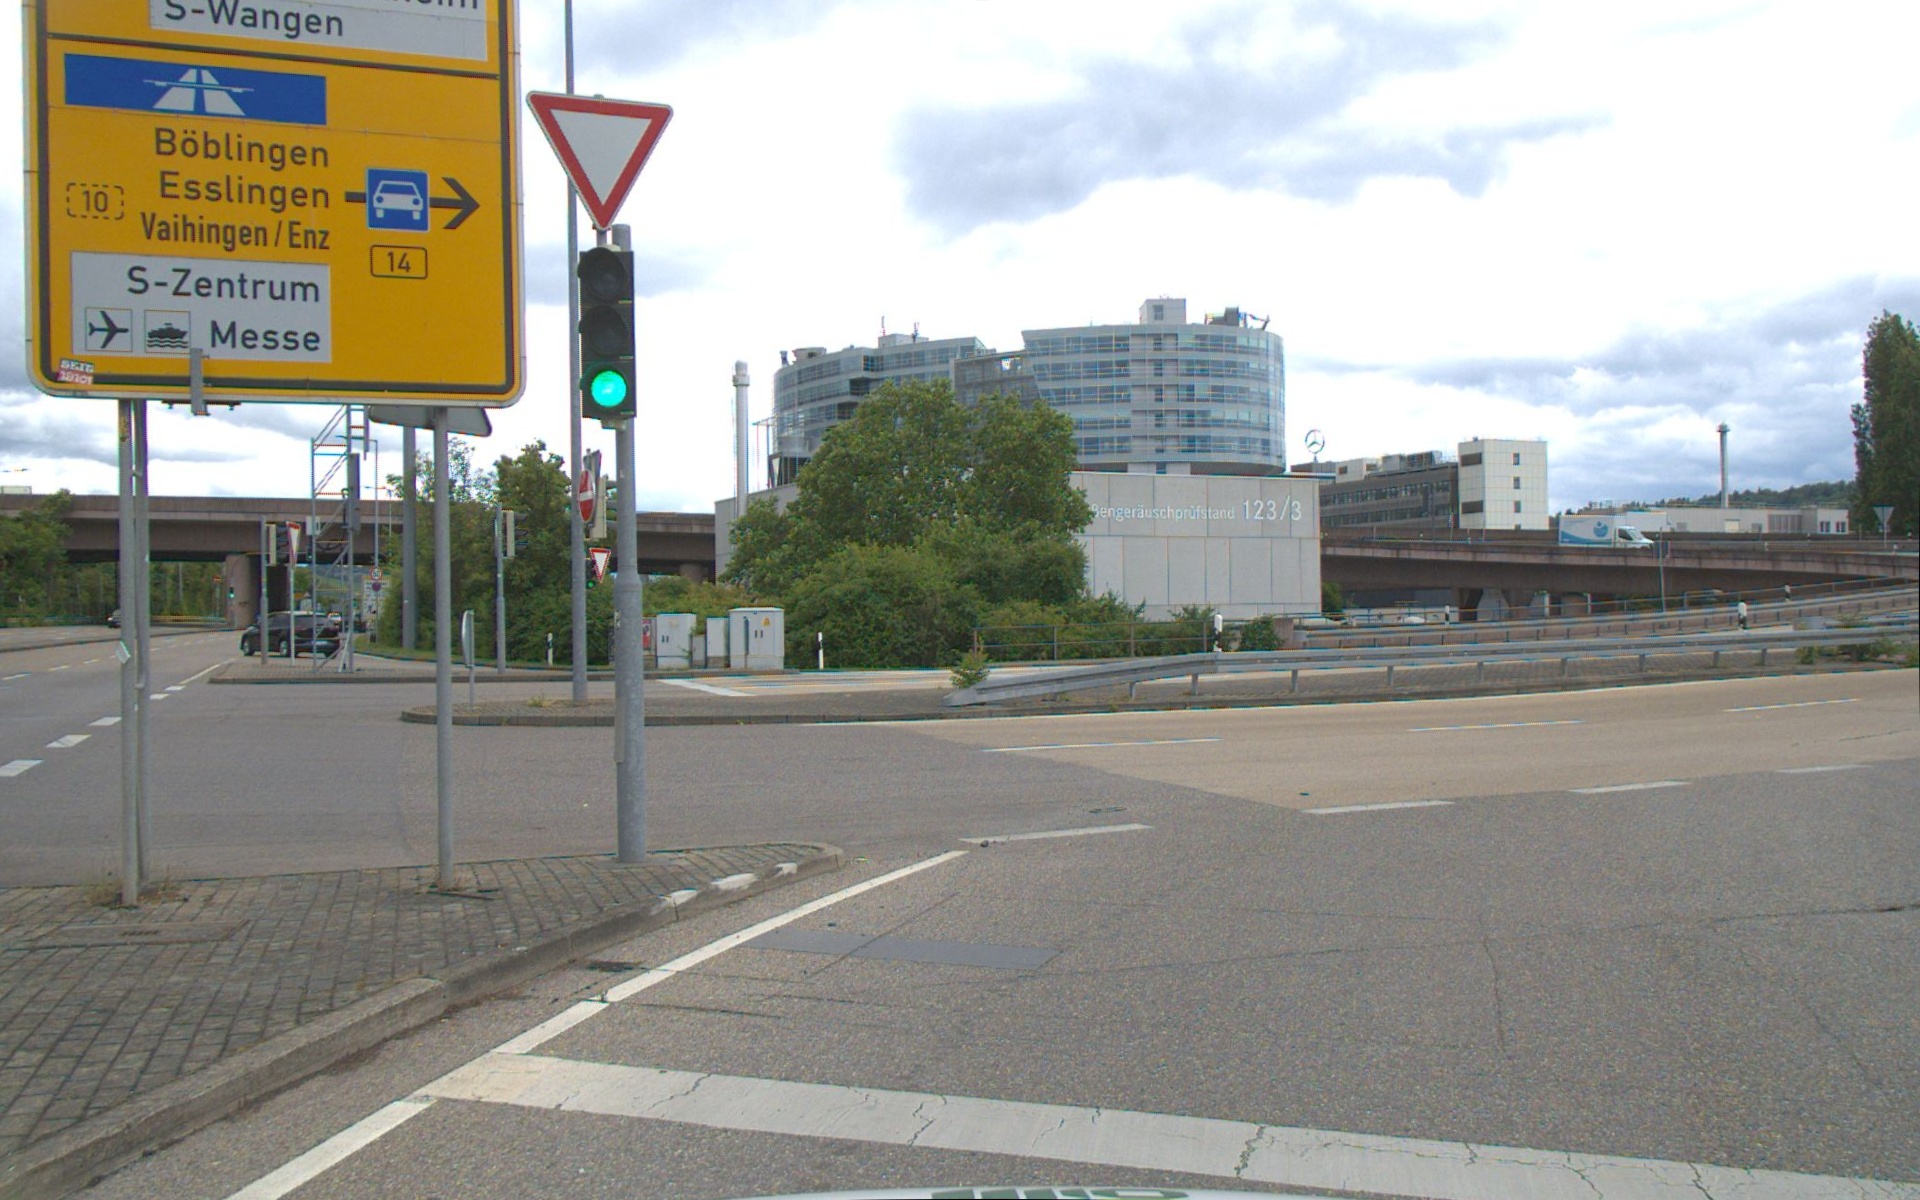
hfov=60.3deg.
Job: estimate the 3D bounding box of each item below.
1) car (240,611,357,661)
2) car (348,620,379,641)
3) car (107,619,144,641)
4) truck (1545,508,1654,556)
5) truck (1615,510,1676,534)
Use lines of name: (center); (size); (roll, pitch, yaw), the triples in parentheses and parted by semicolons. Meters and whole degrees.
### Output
car: (-21.171, 1.126, 52.878); (3.922, 1.446, 1.904); (1, 0, 42)
car: (-46.760, 2.399, 129.709); (1.960, 1.490, 4.093); (1, -3, -15)
car: (-62.875, 2.239, 124.682); (1.834, 1.407, 3.850); (3, 1, -18)
truck: (47.406, -4.977, 122.683); (7.221, 3.327, 2.315); (1, -1, 43)
truck: (70.378, -7.986, 169.821); (5.514, 2.201, 1.997); (1, -1, -7)
